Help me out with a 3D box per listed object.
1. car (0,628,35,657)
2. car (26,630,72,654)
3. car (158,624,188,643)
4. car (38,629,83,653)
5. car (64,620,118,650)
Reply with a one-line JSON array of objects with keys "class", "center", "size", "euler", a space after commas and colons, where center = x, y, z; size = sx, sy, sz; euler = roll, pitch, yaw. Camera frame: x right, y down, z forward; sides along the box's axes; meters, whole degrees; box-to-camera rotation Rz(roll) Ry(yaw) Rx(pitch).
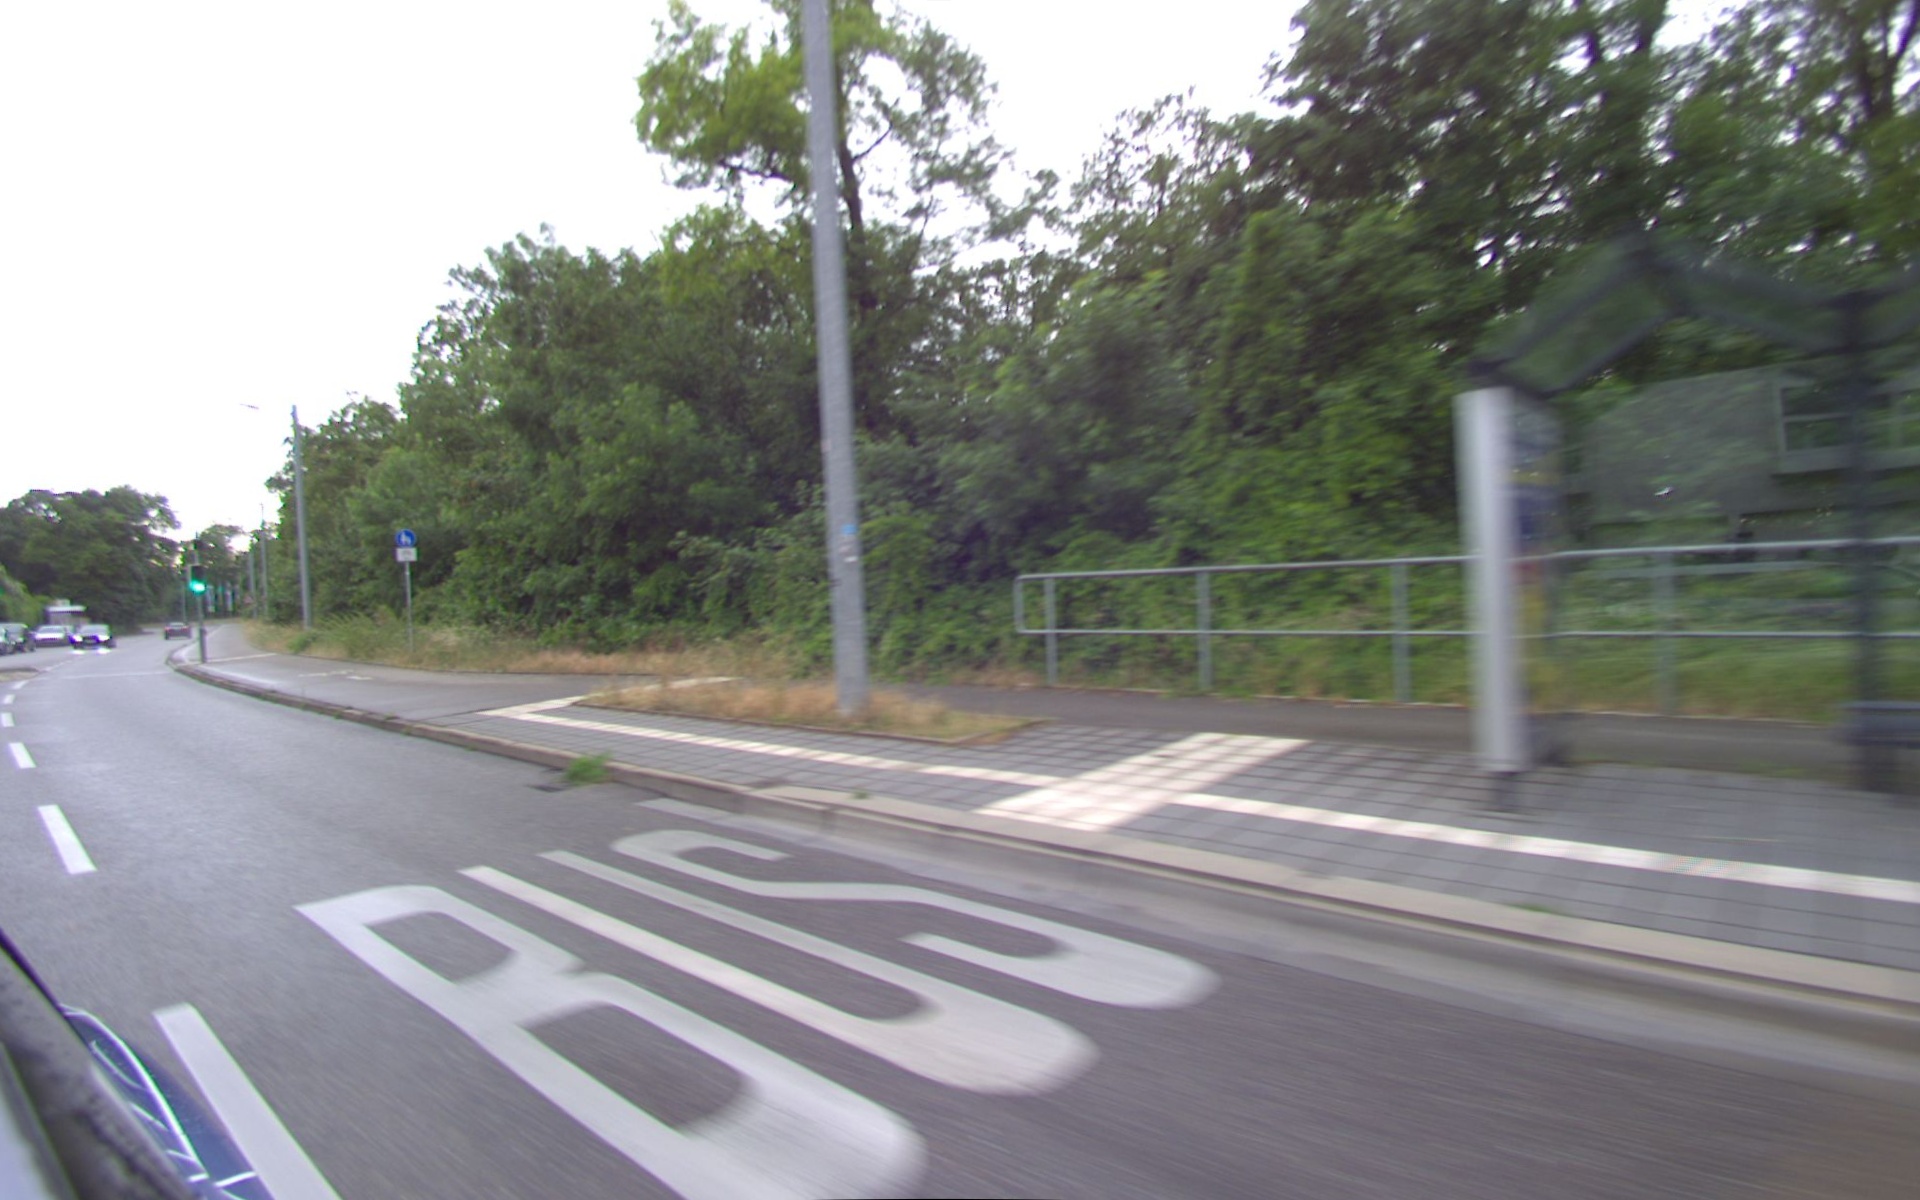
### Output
[{"class": "car", "center": [-52.898, 2.353, 56.193], "size": [1.707, 1.580, 4.533], "euler": [-1, -1, -35]}, {"class": "car", "center": [-62.213, 2.850, 69.185], "size": [1.788, 1.408, 4.113], "euler": [-2, 1, -34]}, {"class": "car", "center": [-64.720, 2.753, 83.283], "size": [1.720, 1.471, 4.425], "euler": [-1, 0, -35]}, {"class": "car", "center": [-65.020, 2.929, 73.227], "size": [1.805, 1.559, 4.642], "euler": [-2, 1, -34]}, {"class": "car", "center": [-52.457, 2.087, 61.156], "size": [1.967, 1.737, 4.011], "euler": [-1, -1, -34]}]
